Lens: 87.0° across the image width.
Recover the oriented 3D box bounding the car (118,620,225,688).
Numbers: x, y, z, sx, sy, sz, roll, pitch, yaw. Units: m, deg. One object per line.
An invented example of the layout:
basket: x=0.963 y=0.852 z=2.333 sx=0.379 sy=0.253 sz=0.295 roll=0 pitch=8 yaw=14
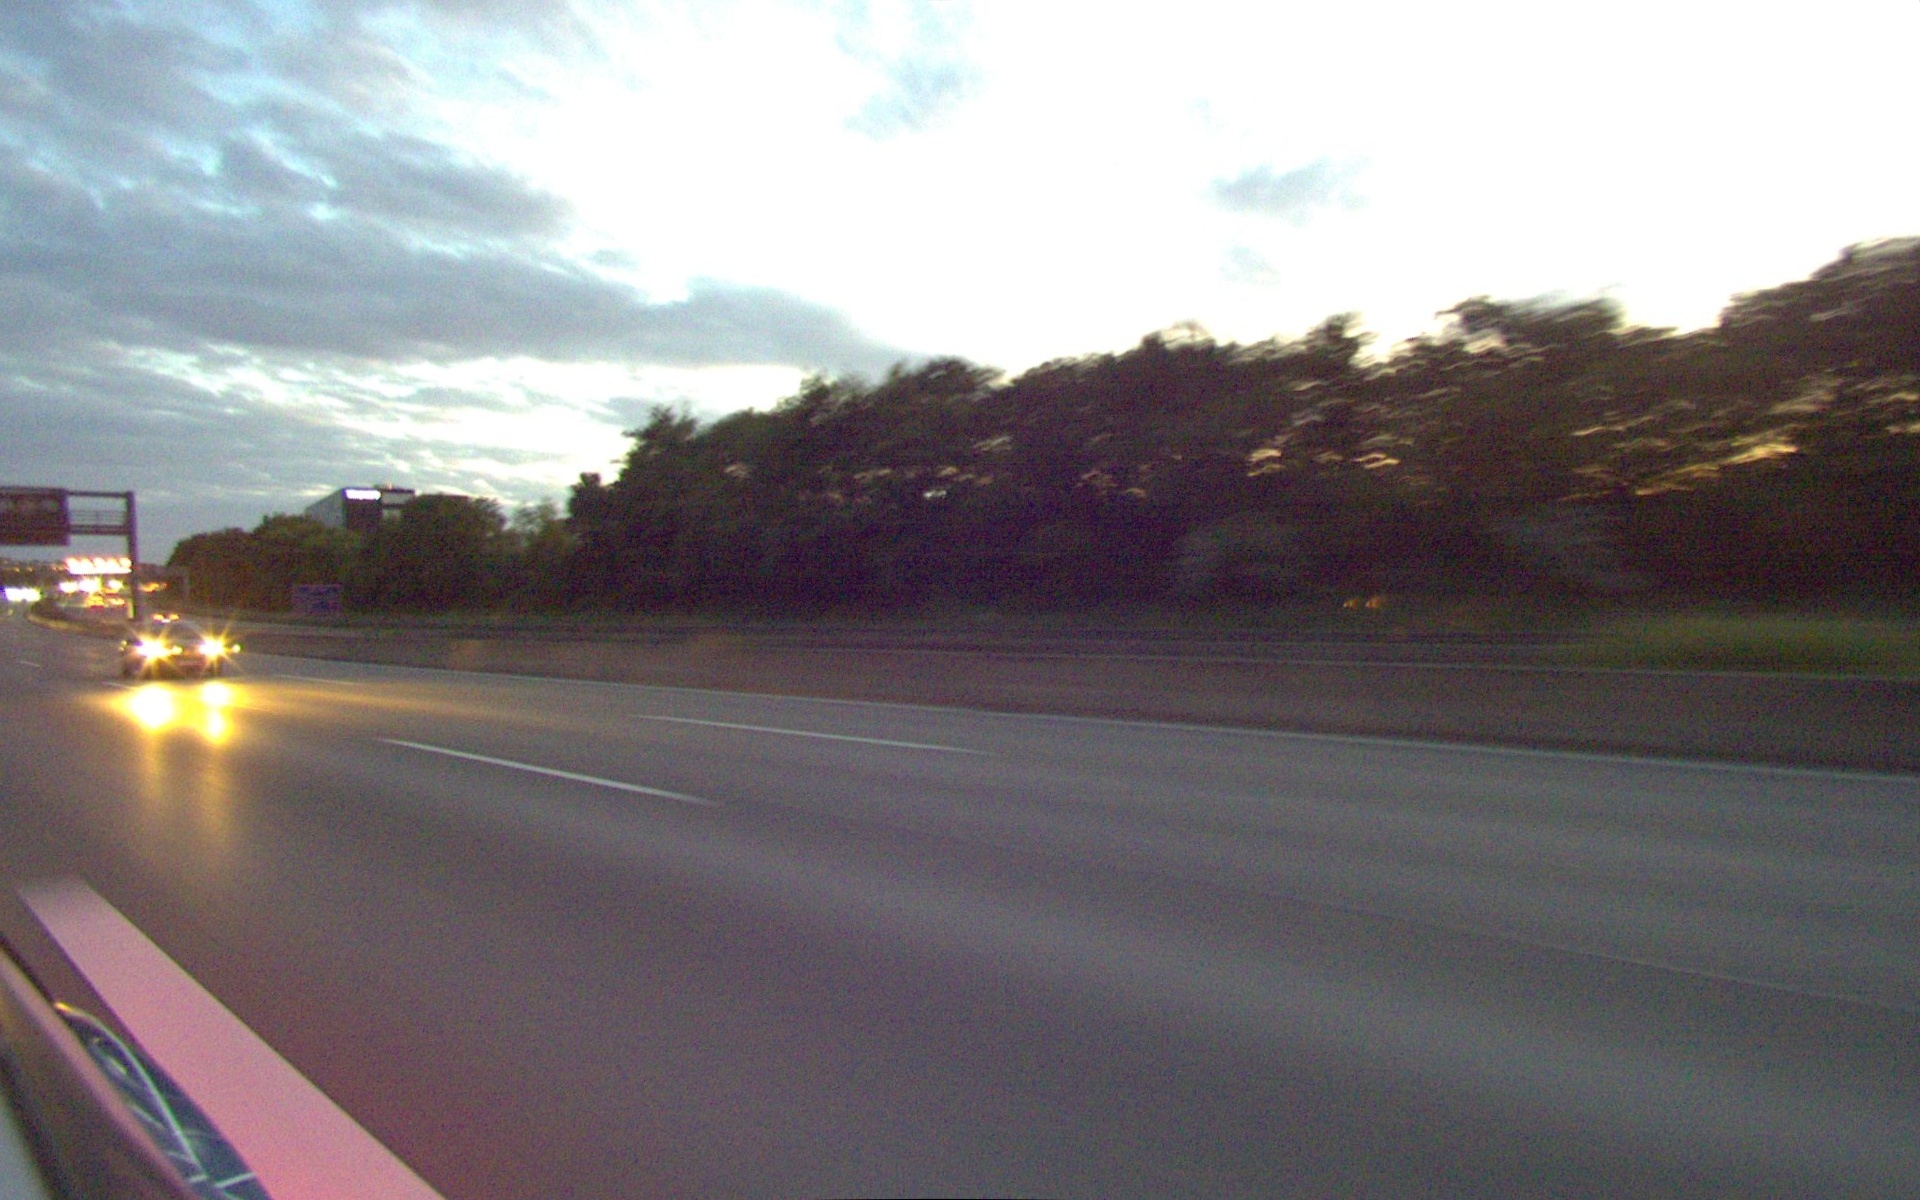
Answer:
car: x=-20.766 y=1.348 z=26.614 sx=4.002 sy=1.491 sz=1.694 roll=2 pitch=2 yaw=44

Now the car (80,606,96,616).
car: x=-169.801 y=2.100 z=197.085 sx=4.680 sy=1.907 sz=1.972 roll=2 pitch=2 yaw=43

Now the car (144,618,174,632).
car: x=-87.632 y=2.708 z=110.751 sx=4.152 sy=1.430 sz=1.972 roll=0 pitch=0 yaw=43
